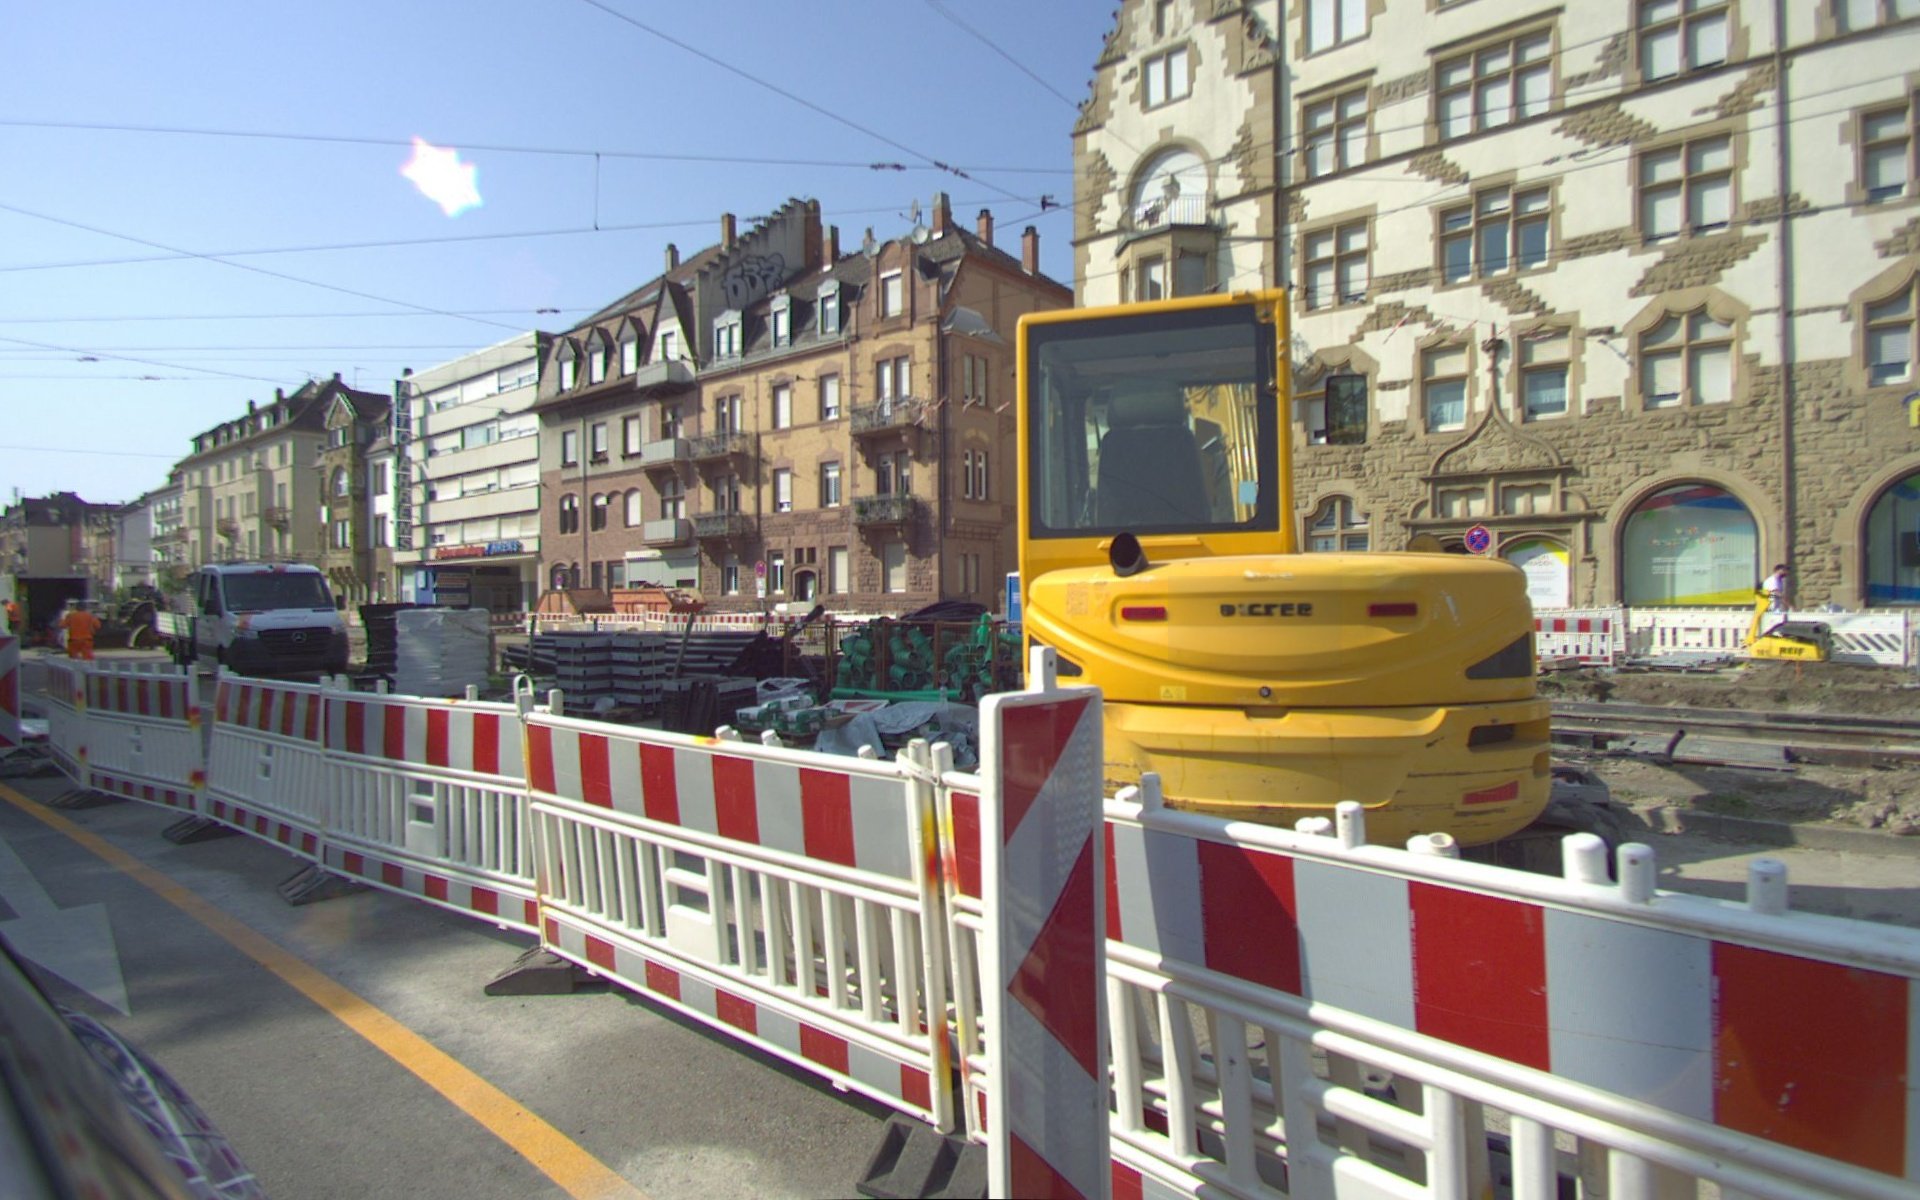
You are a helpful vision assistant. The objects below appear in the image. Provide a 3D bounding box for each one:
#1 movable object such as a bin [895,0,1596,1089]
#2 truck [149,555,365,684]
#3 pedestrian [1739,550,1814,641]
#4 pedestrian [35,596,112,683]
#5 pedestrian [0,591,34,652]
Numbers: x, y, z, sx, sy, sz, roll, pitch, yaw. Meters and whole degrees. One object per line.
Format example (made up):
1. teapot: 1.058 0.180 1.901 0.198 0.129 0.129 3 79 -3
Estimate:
1. movable object such as a bin: 1.811 -0.341 6.073 2.101 3.371 6.122 -1 0 20
2. truck: -14.607 0.368 20.792 7.049 2.239 2.135 -1 -1 42
3. pedestrian: 16.307 -0.096 20.228 1.145 1.754 0.905 0 0 40
4. pedestrian: -18.244 0.782 20.831 1.094 1.723 1.022 -1 -1 39
5. pedestrian: -32.371 0.732 34.462 0.896 2.028 0.915 -2 2 -24
